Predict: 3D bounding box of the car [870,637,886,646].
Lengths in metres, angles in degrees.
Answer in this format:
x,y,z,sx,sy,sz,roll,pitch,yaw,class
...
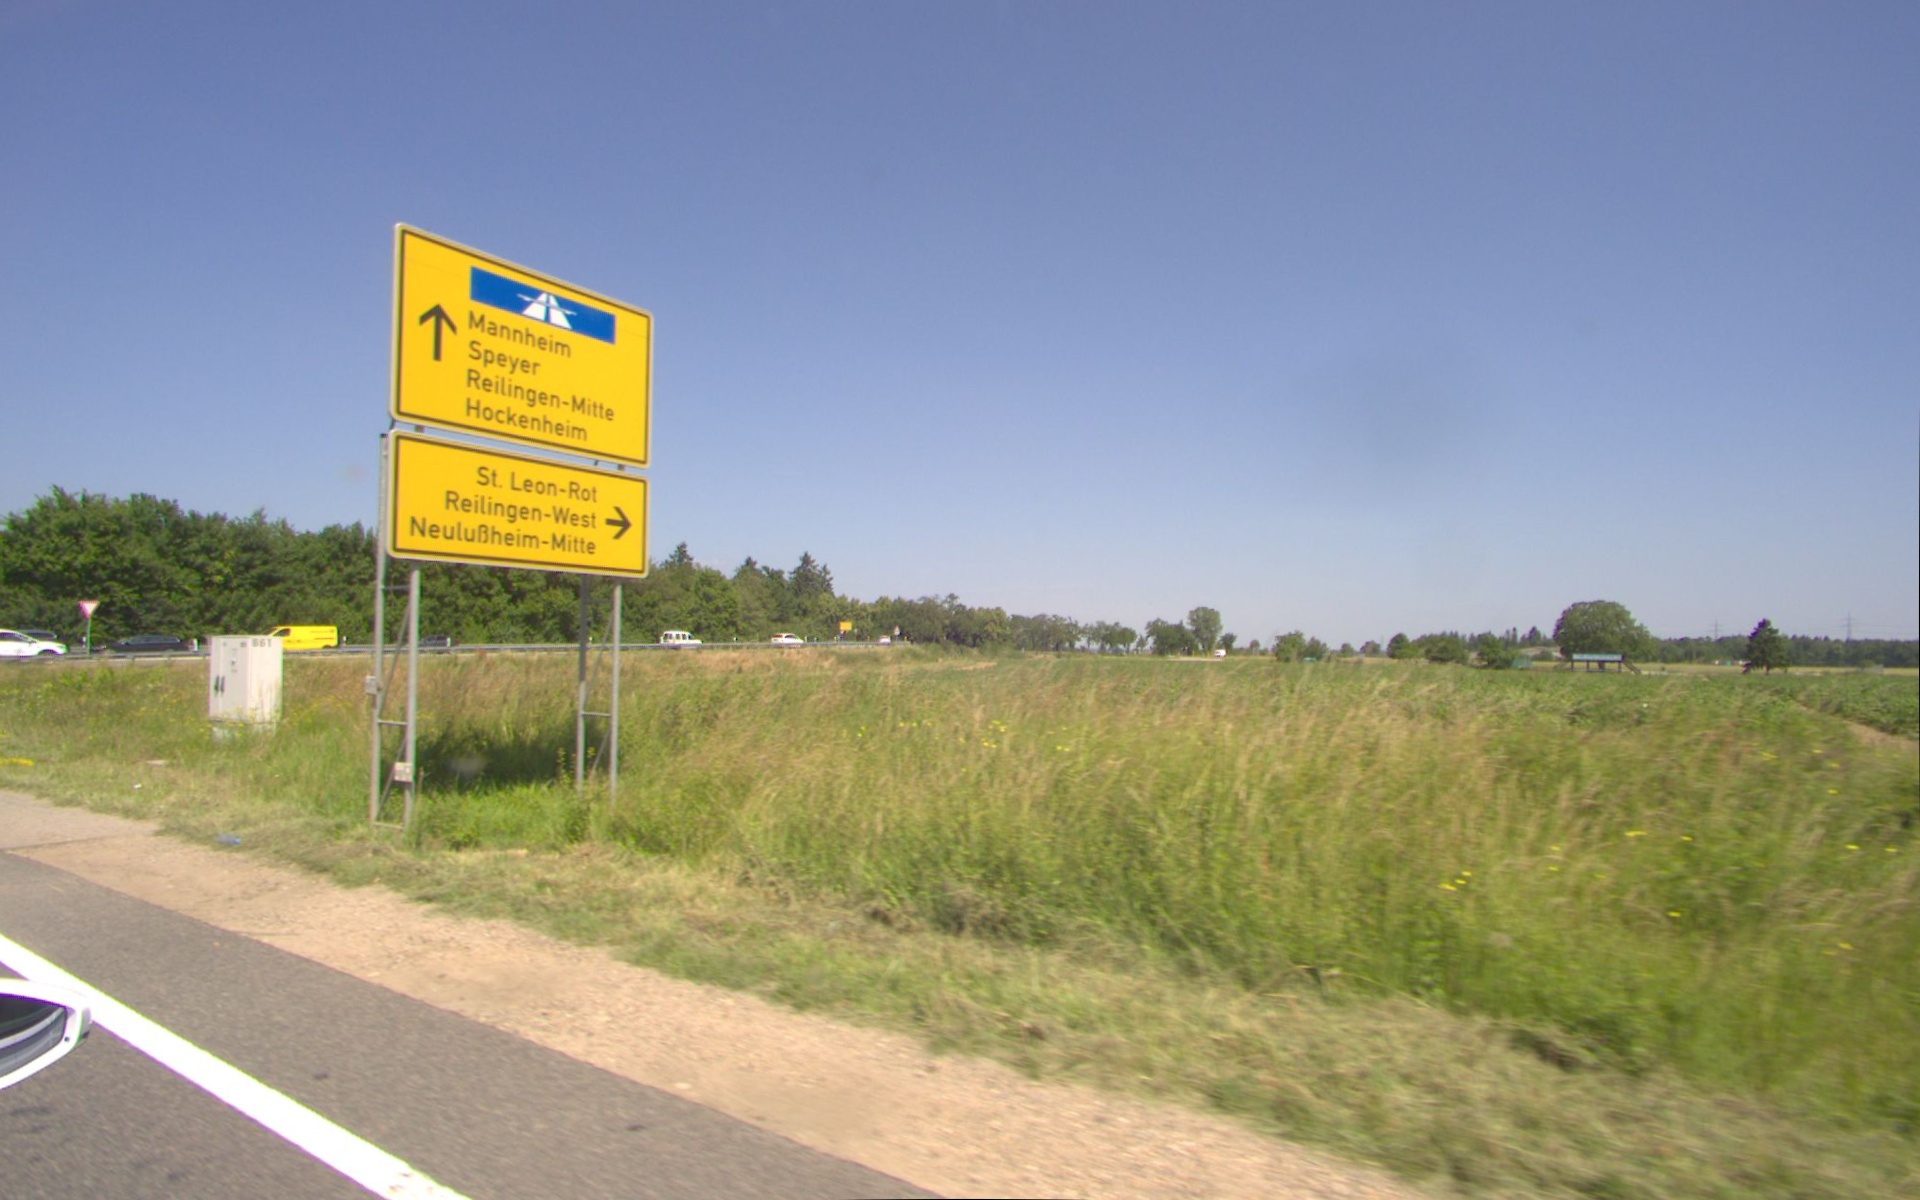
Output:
x,y,z,sx,sy,sz,roll,pitch,yaw,class
-11.648,5.867,141.746,1.686,1.204,3.997,0,-2,-14,car

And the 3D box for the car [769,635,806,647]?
x,y,z,sx,sy,sz,roll,pitch,yaw,class
-17.963,4.252,104.333,1.691,1.204,3.985,-1,-2,28,car

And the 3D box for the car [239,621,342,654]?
x,y,z,sx,sy,sz,roll,pitch,yaw,class
-43.807,2.478,65.639,1.973,2.039,5.312,-1,-2,33,car

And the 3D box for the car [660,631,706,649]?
x,y,z,sx,sy,sz,roll,pitch,yaw,class
-25.183,3.663,91.176,1.691,1.589,3.984,-1,-2,29,car

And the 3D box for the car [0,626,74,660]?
x,y,z,sx,sy,sz,roll,pitch,yaw,class
-45.066,2.017,47.350,1.716,1.586,4.459,-1,-3,34,car

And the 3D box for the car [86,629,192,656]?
x,y,z,sx,sy,sz,roll,pitch,yaw,class
-49.329,2.542,60.244,1.831,1.533,4.664,-2,-3,39,car

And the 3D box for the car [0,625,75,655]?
x,y,z,sx,sy,sz,roll,pitch,yaw,class
-51.350,2.182,54.495,1.744,1.618,4.475,-1,-3,35,car

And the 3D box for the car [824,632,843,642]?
x,y,z,sx,sy,sz,roll,pitch,yaw,class
-19.907,5.811,157.399,1.823,1.533,4.684,1,-2,-24,car
